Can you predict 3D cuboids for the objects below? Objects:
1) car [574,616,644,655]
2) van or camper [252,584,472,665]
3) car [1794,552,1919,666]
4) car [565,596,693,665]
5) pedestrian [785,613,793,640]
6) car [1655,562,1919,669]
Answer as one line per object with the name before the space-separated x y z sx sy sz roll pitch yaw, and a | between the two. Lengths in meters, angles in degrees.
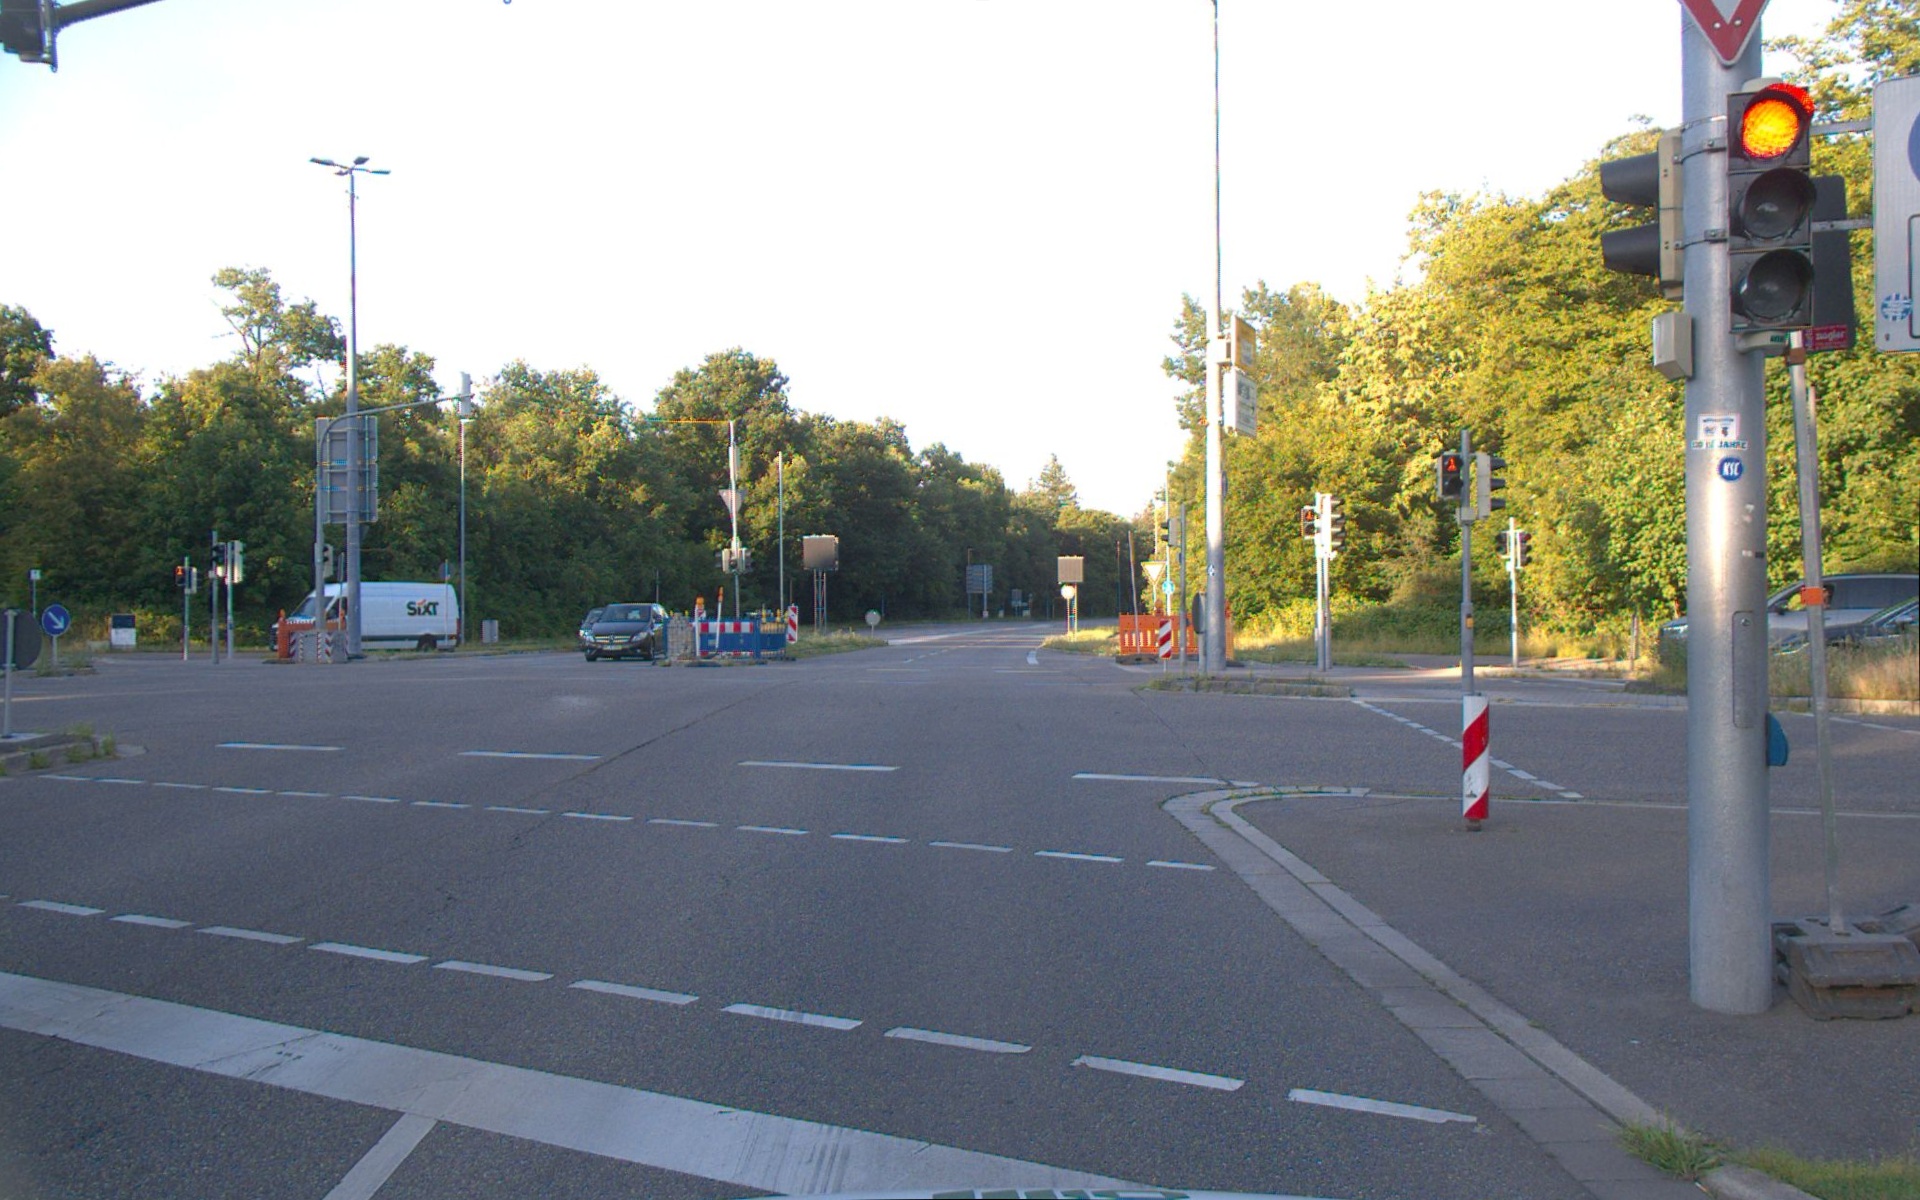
car | -15.675 1.557 74.118 1.951 1.668 4.002 0 0 5
van or camper | -20.986 0.800 58.468 2.833 2.699 7.103 0 0 32
car | 13.591 0.111 22.570 3.783 1.515 1.771 0 0 22
car | -8.878 0.775 44.661 1.951 1.668 4.004 -2 1 11
pedestrian | -13.274 2.067 128.593 0.511 2.049 0.600 1 -1 -1
car | 13.746 0.246 26.495 4.716 1.626 2.000 -1 0 21
